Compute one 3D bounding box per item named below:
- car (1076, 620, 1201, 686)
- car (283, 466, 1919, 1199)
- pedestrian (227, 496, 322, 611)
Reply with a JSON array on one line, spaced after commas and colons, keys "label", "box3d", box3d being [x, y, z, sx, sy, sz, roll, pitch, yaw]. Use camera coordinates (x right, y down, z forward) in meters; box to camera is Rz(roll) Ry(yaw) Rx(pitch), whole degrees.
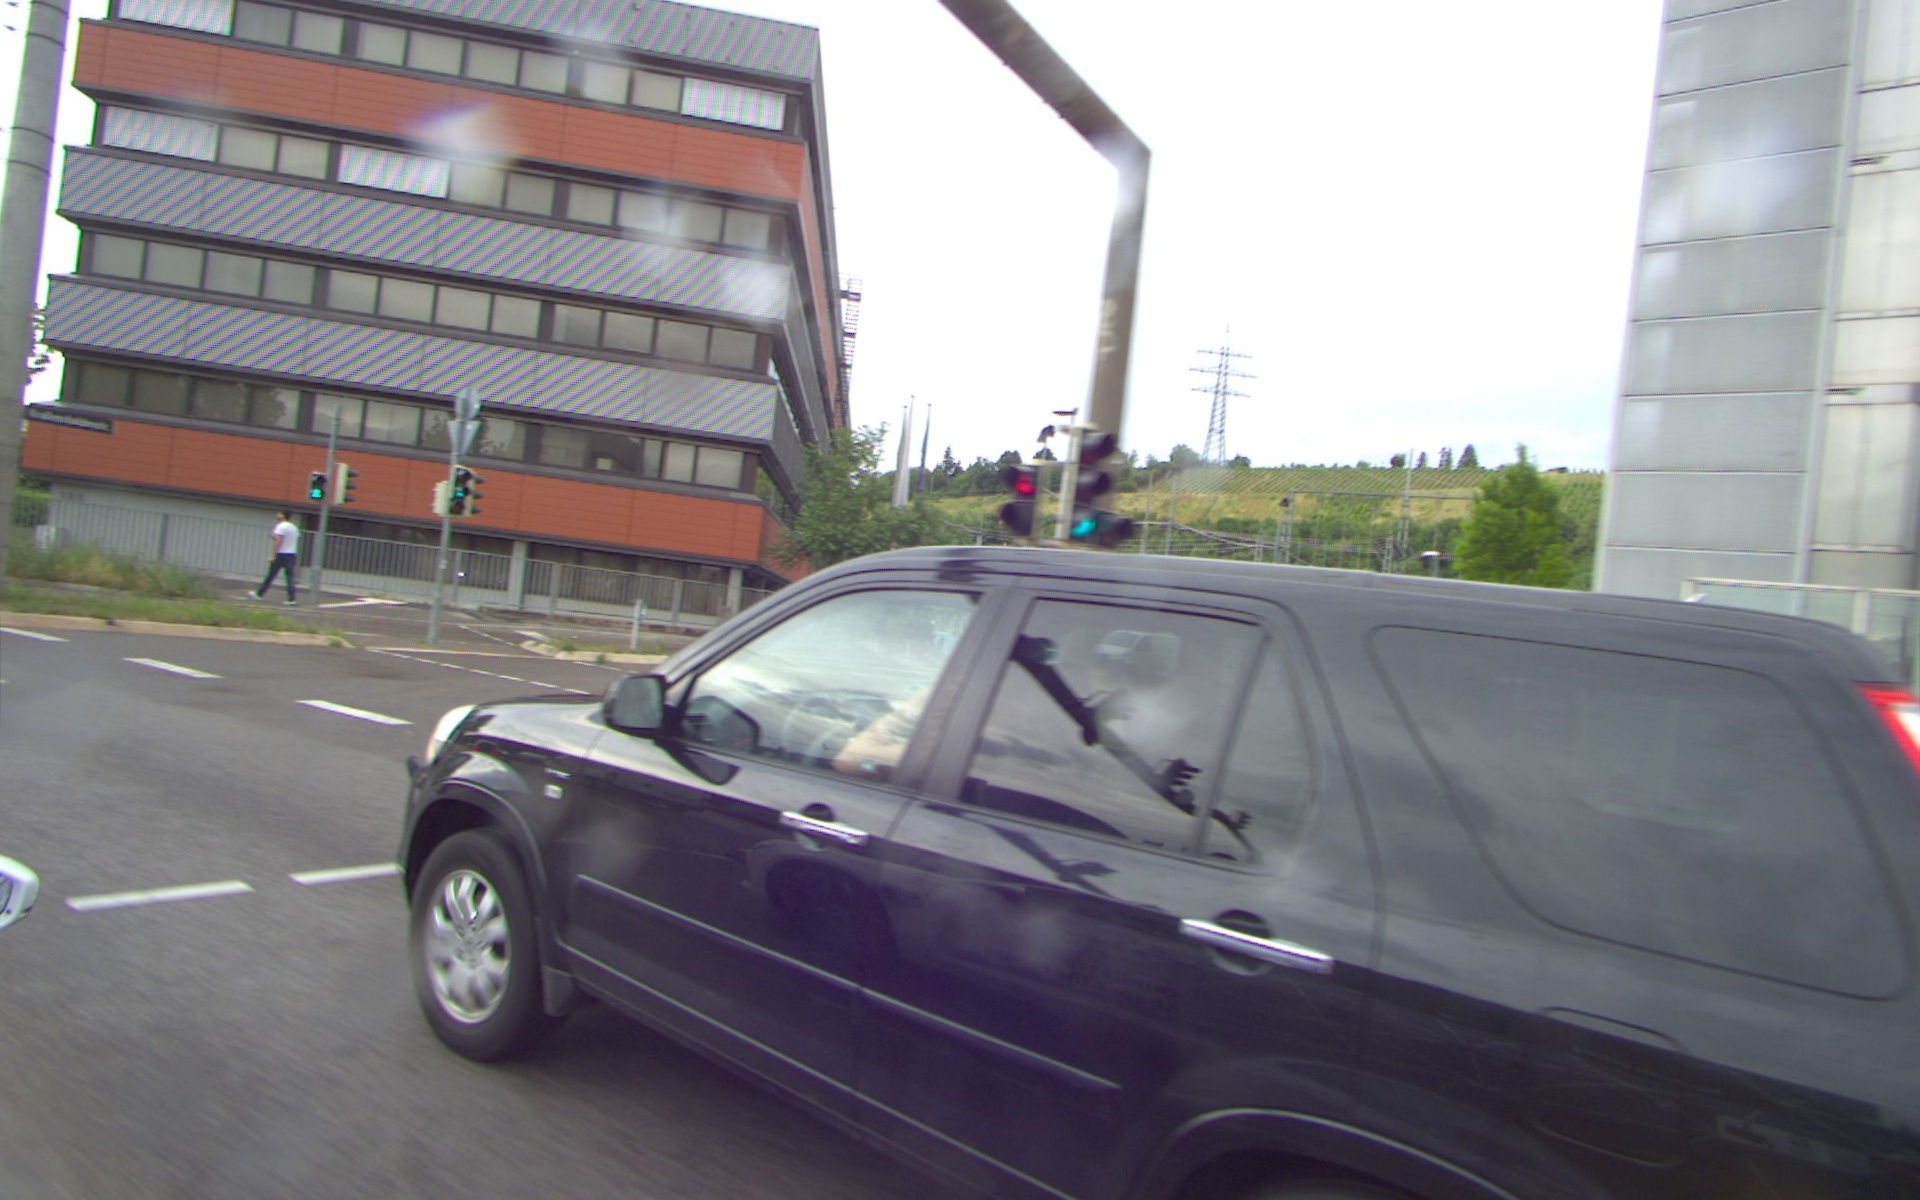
[{"label": "car", "box3d": [7.022, 2.082, 39.215, 5.050, 1.937, 1.977, 10, -4, -42]}, {"label": "car", "box3d": [0.011, 0.653, 2.982, 4.257, 1.647, 1.769, 6, -3, 35]}, {"label": "pedestrian", "box3d": [-14.089, -0.952, 20.687, 1.204, 2.152, 1.142, 9, 1, 39]}]
